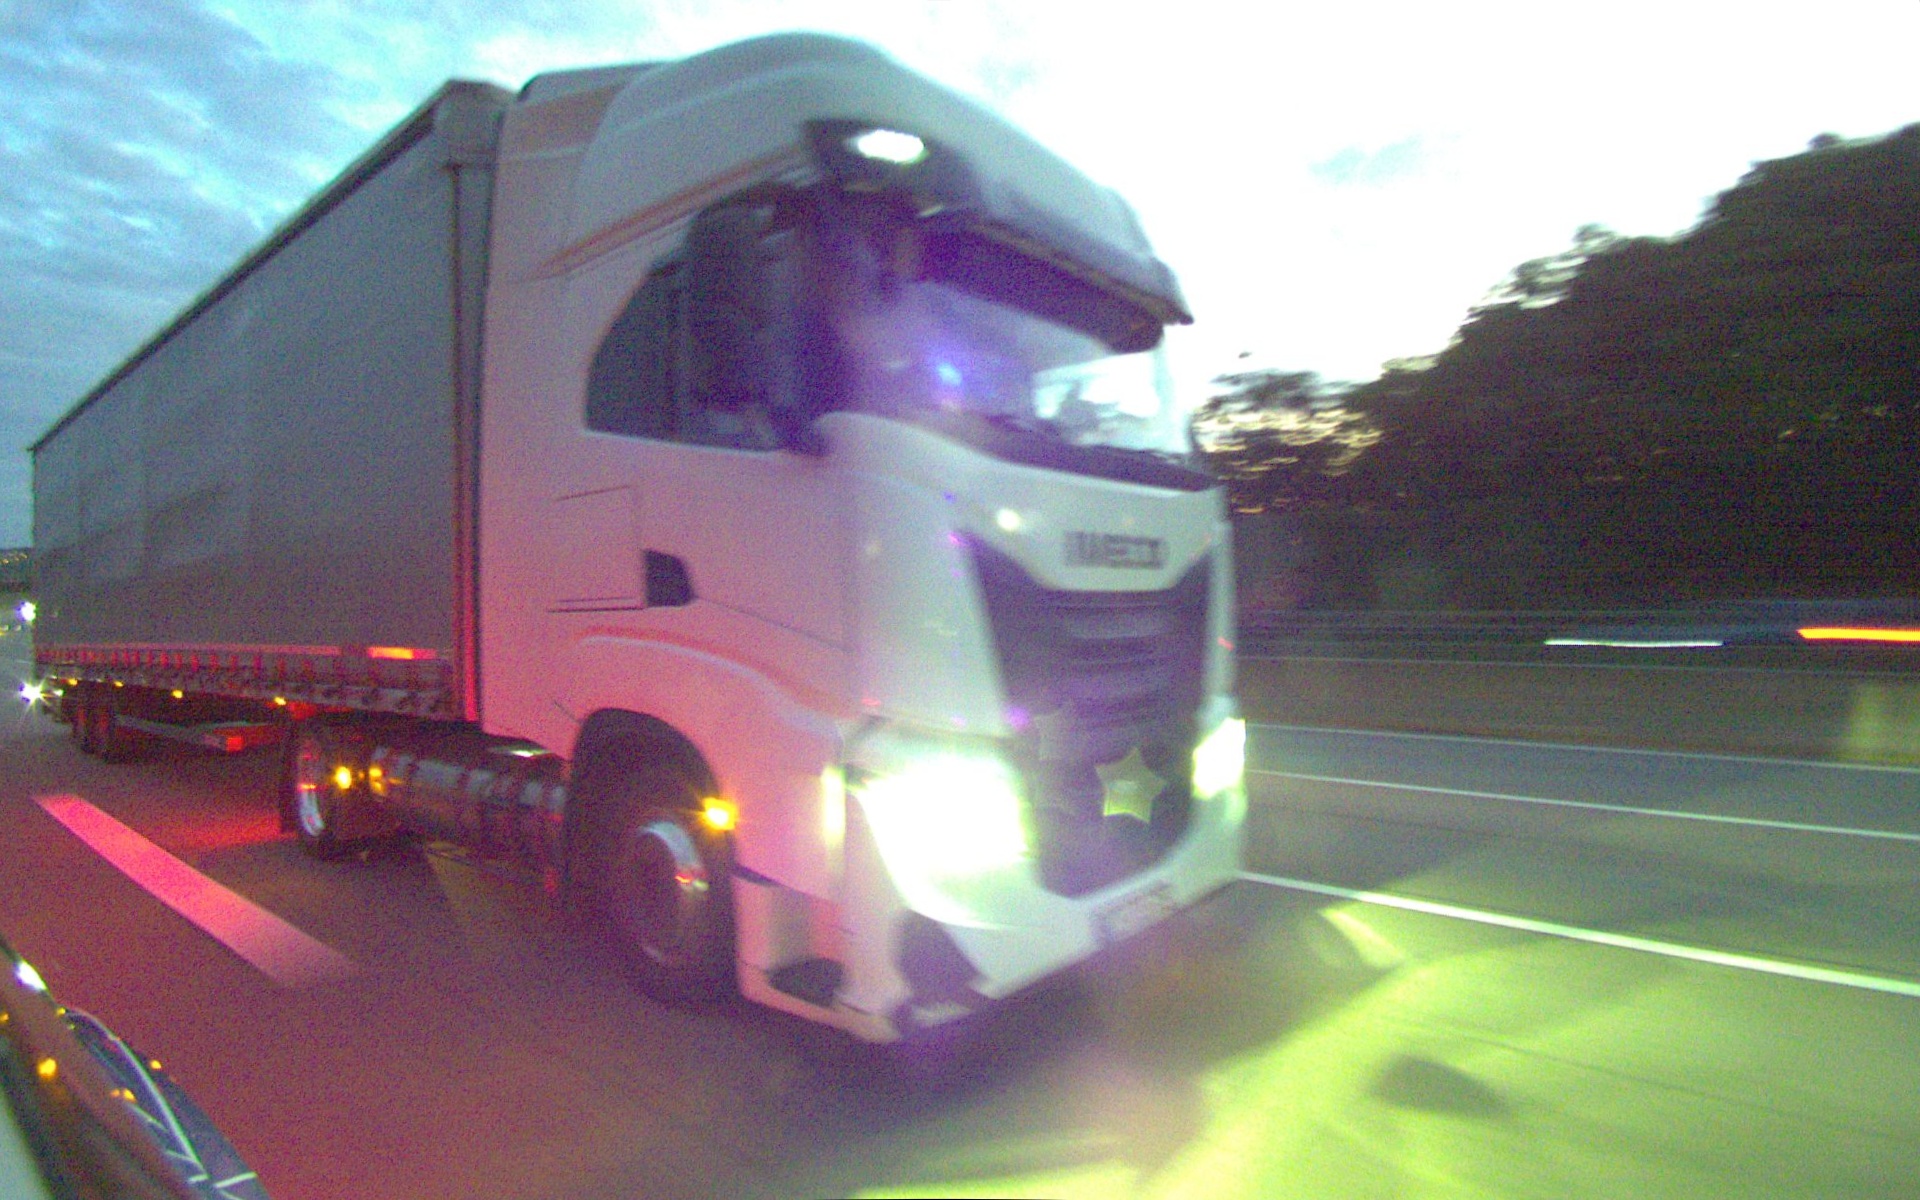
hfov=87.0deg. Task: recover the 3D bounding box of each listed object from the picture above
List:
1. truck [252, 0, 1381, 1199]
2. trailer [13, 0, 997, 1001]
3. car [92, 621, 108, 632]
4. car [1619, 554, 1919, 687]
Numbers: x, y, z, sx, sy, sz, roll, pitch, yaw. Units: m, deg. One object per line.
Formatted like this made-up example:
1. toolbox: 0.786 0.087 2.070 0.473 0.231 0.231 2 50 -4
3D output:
1. truck: -1.339 -0.436 5.554 6.151 3.931 2.750 -2 -1 41
2. trailer: -6.280 -0.285 9.824 14.810 3.945 2.745 -2 -1 41
3. car: -161.121 4.993 189.591 1.970 2.029 4.003 1 -2 -44
4. car: 14.094 0.319 17.295 4.494 2.029 1.972 -1 0 42
